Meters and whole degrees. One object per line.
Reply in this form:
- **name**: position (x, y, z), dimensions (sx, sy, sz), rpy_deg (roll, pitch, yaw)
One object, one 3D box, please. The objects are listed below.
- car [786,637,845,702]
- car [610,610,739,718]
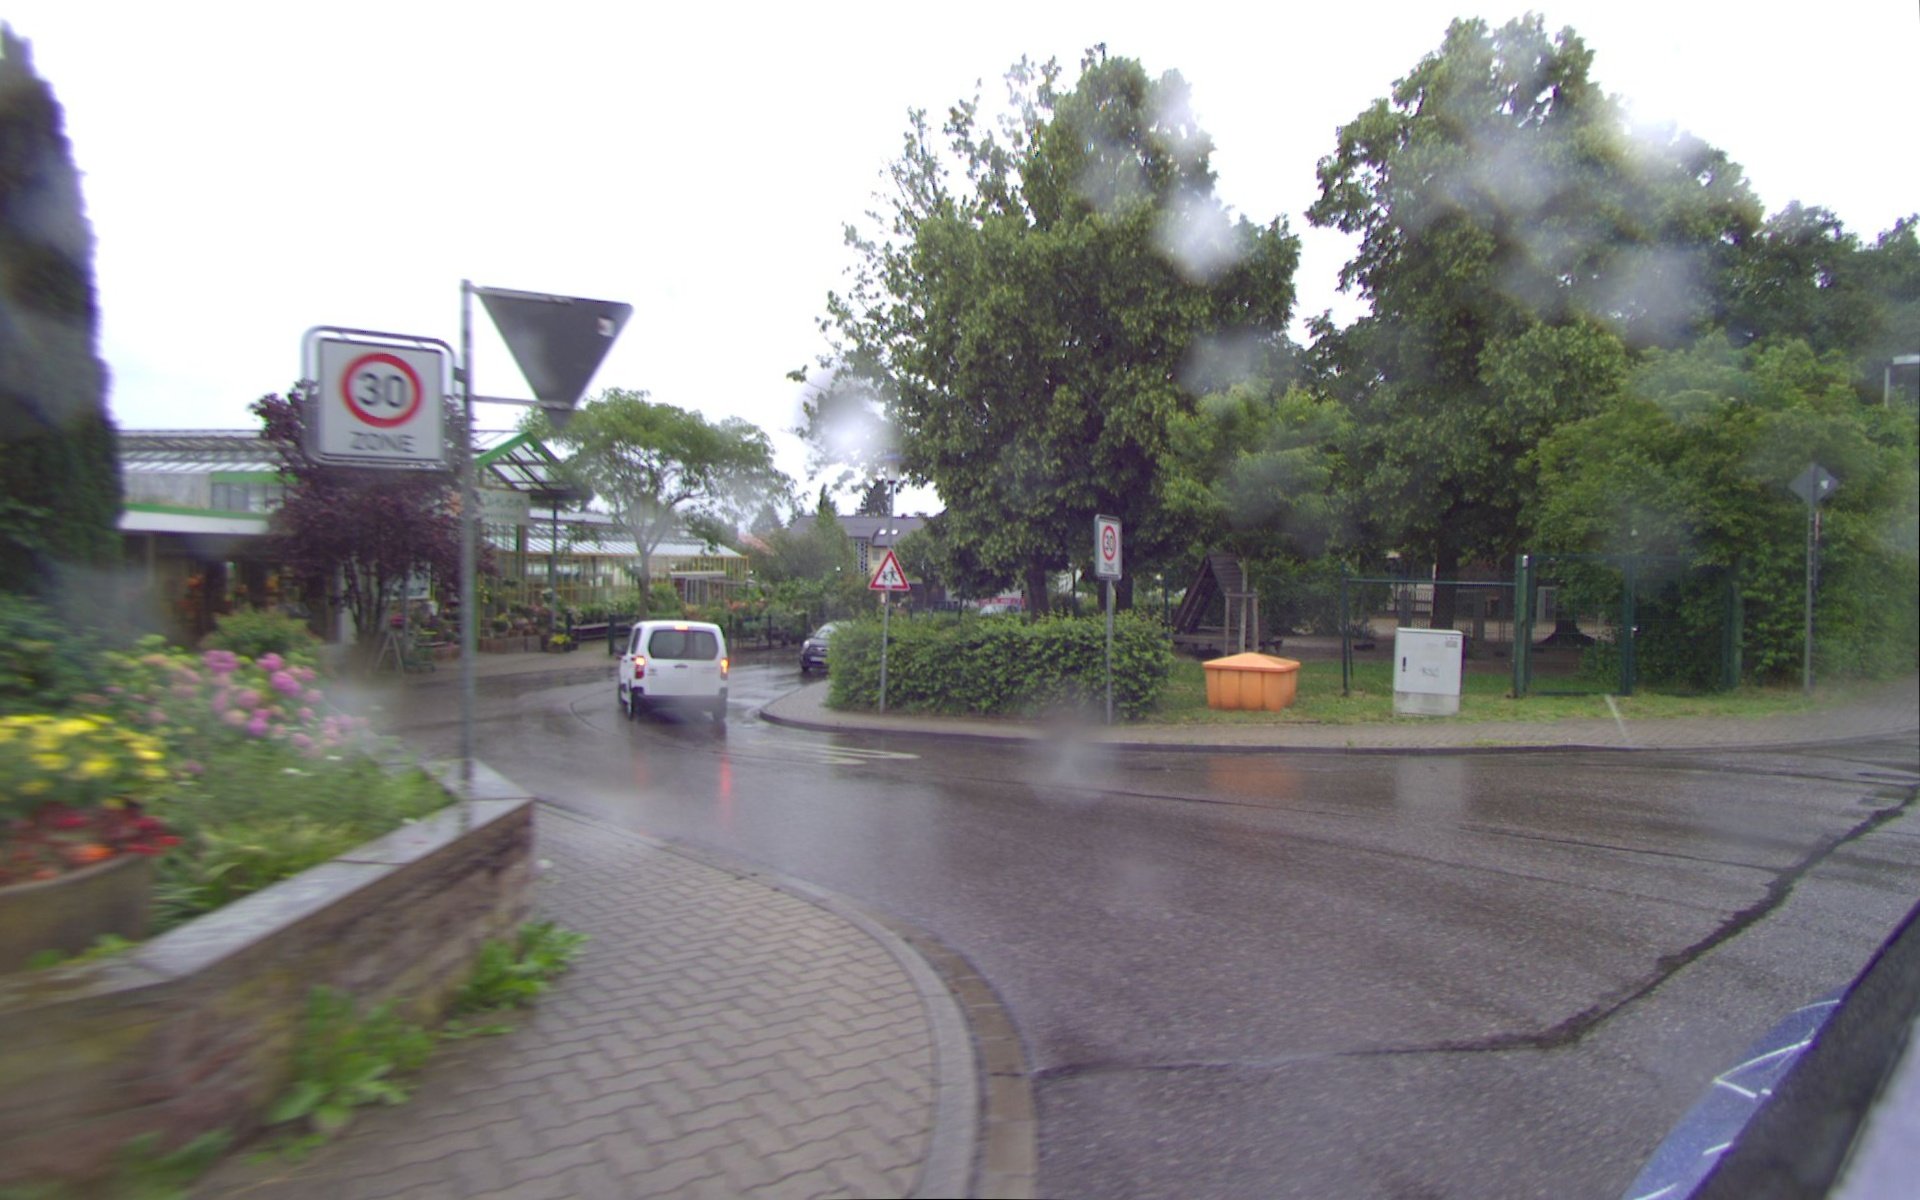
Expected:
- **car**: position (-3.122, 1.477, 22.121), dimensions (1.090, 1.192, 2.535), rpy_deg (-3, 0, -5)
- **car**: position (-5.705, 1.218, 19.892), dimensions (1.863, 1.830, 4.005), rpy_deg (-2, -2, -23)
